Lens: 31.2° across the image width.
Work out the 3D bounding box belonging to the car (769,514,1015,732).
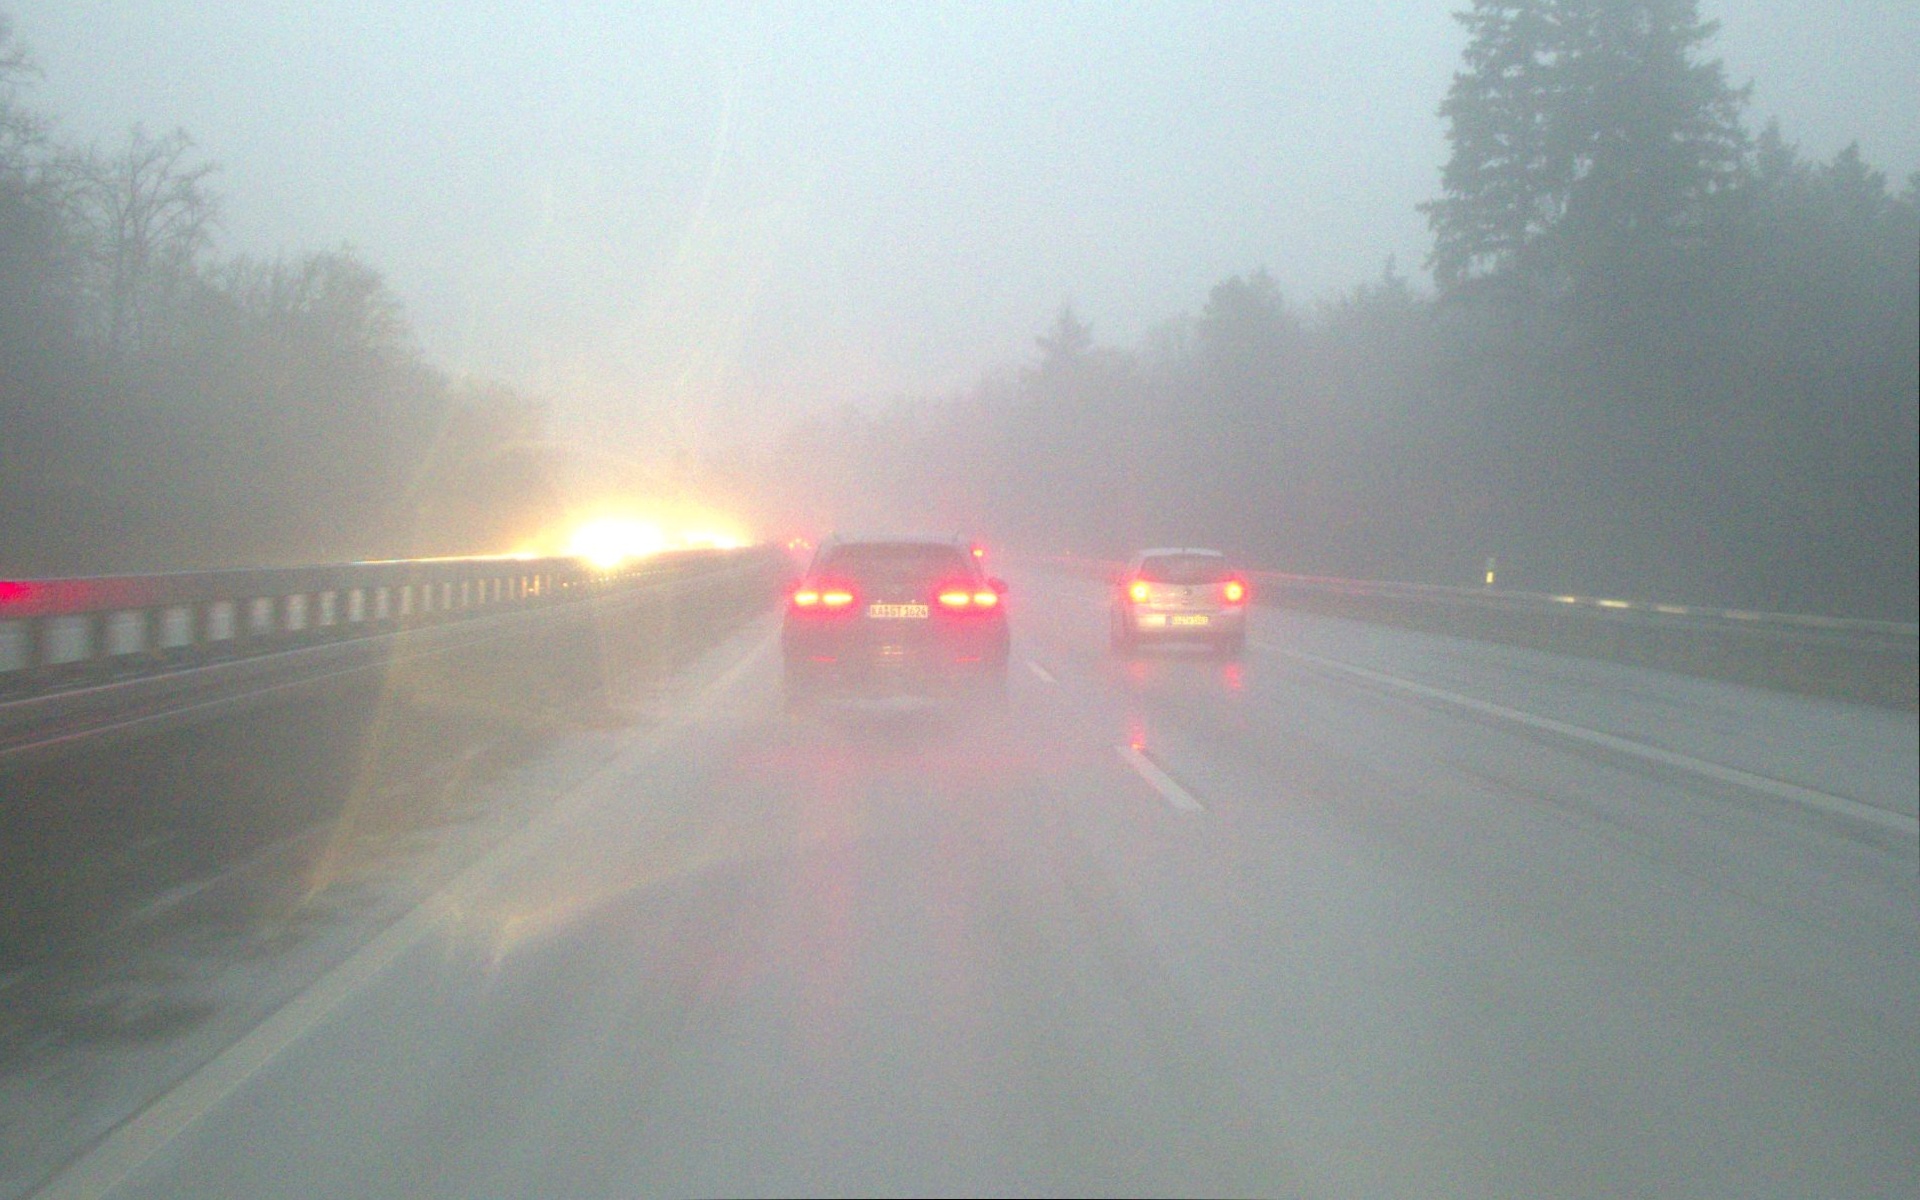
[{"bbox_3d":[-0.530,0.141,29.855,1.986,1.761,4.173,0,1,1],"label":"car"}]

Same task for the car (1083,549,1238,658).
[{"bbox_3d":[2.727,0.024,47.521,1.780,1.432,3.538,0,1,-2],"label":"car"}]
